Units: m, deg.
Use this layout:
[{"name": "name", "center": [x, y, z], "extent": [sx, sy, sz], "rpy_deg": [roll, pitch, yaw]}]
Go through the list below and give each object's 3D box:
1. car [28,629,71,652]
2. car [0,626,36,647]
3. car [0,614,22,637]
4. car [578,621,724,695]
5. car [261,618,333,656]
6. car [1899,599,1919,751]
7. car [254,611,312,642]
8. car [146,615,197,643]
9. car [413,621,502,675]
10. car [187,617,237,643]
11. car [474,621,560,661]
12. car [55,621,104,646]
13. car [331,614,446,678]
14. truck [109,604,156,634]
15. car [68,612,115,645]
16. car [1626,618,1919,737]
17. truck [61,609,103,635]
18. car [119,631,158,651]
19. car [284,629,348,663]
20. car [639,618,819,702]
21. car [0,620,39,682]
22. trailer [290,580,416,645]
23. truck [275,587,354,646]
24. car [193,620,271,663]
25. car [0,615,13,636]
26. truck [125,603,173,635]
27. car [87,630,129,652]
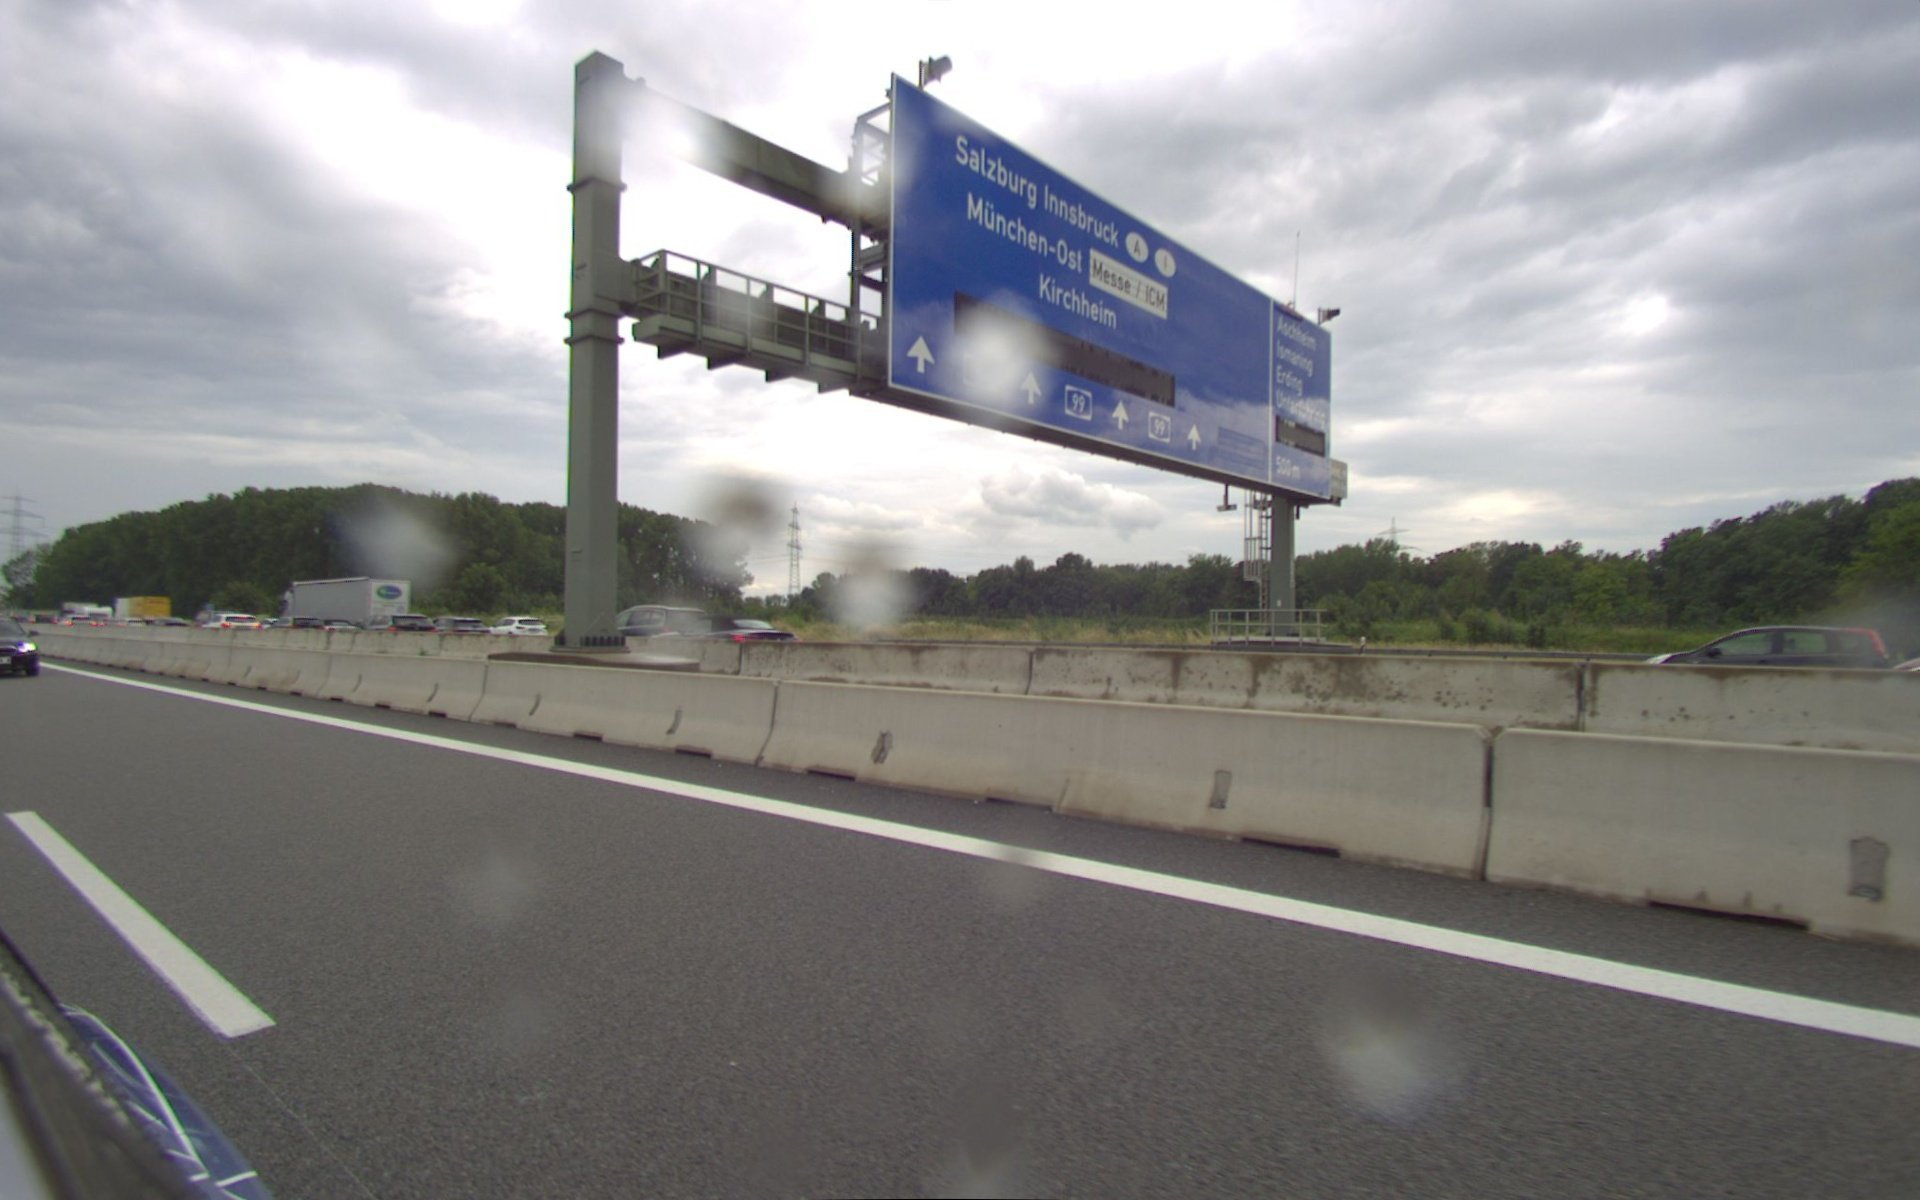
[{"name": "car", "center": [-73.459, 3.231, 81.638], "extent": [4.669, 1.795, 1.973], "rpy_deg": [-2, -1, 40]}, {"name": "car", "center": [-82.772, 3.195, 88.800], "extent": [3.997, 1.763, 1.973], "rpy_deg": [-2, -1, 40]}, {"name": "car", "center": [-89.670, 2.413, 94.821], "extent": [5.753, 2.029, 1.973], "rpy_deg": [-2, -1, 40]}, {"name": "car", "center": [-9.280, 1.665, 30.174], "extent": [4.758, 2.029, 1.973], "rpy_deg": [-2, -1, 41]}, {"name": "car", "center": [-34.890, 1.911, 53.195], "extent": [4.758, 1.887, 1.973], "rpy_deg": [-2, -1, 41]}, {"name": "car", "center": [13.246, 0.829, 11.005], "extent": [4.334, 1.758, 1.661], "rpy_deg": [-2, -1, 41]}, {"name": "car", "center": [-44.014, 1.727, 65.721], "extent": [4.758, 1.887, 1.973], "rpy_deg": [-2, -1, 41]}, {"name": "car", "center": [-54.960, 2.028, 70.512], "extent": [4.758, 1.887, 1.973], "rpy_deg": [-2, -1, 41]}, {"name": "car", "center": [-20.363, 1.907, 40.990], "extent": [3.998, 2.029, 1.863], "rpy_deg": [-2, -1, 41]}, {"name": "car", "center": [-57.074, 2.299, 77.157], "extent": [5.389, 1.887, 1.973], "rpy_deg": [-2, -1, 41]}, {"name": "car", "center": [-23.580, 2.155, 53.822], "extent": [4.826, 1.967, 2.405], "rpy_deg": [-2, -1, 41]}, {"name": "car", "center": [-62.929, 2.378, 72.299], "extent": [4.868, 1.728, 1.973], "rpy_deg": [-2, -1, 40]}, {"name": "car", "center": [-19.712, 1.543, 34.821], "extent": [4.758, 2.029, 1.973], "rpy_deg": [-2, -1, 41]}, {"name": "truck", "center": [-103.061, 2.419, 125.948], "extent": [10.307, 3.640, 2.848], "rpy_deg": [-1, -1, 41]}, {"name": "car", "center": [-91.267, 2.998, 106.339], "extent": [6.556, 3.302, 2.634], "rpy_deg": [-2, -1, 40]}, {"name": "car", "center": [15.657, 1.395, 19.443], "extent": [4.559, 2.029, 1.888], "rpy_deg": [-2, -1, 41]}, {"name": "truck", "center": [-116.244, 2.967, 133.873], "extent": [9.195, 3.315, 2.880], "rpy_deg": [-2, -1, 40]}, {"name": "car", "center": [-75.695, 3.731, 93.188], "extent": [4.696, 1.728, 1.973], "rpy_deg": [-2, -1, 40]}, {"name": "car", "center": [-38.461, 2.712, 60.354], "extent": [4.758, 1.887, 1.973], "rpy_deg": [-2, -1, 41]}, {"name": "car", "center": [-4.948, 1.213, 21.442], "extent": [3.998, 1.608, 1.711], "rpy_deg": [-2, -1, 41]}, {"name": "car", "center": [-23.704, 1.220, 24.339], "extent": [3.998, 1.426, 1.898], "rpy_deg": [-2, -2, 42]}, {"name": "trailer", "center": [-41.522, 0.959, 68.892], "extent": [13.799, 4.059, 3.205], "rpy_deg": [-2, -1, 41]}, {"name": "truck", "center": [-46.898, 1.247, 73.519], "extent": [6.228, 4.088, 3.187], "rpy_deg": [-2, -1, 41]}, {"name": "car", "center": [-33.806, 1.890, 46.954], "extent": [4.359, 1.906, 1.973], "rpy_deg": [-2, -1, 41]}, {"name": "car", "center": [-95.738, 2.551, 100.486], "extent": [4.421, 2.029, 1.973], "rpy_deg": [-2, -1, 40]}, {"name": "truck", "center": [-96.117, 2.218, 119.829], "extent": [9.576, 3.640, 2.848], "rpy_deg": [-1, -1, 41]}, {"name": "car", "center": [-71.909, 3.430, 85.399], "extent": [4.696, 1.728, 1.973], "rpy_deg": [-2, -1, 40]}]
